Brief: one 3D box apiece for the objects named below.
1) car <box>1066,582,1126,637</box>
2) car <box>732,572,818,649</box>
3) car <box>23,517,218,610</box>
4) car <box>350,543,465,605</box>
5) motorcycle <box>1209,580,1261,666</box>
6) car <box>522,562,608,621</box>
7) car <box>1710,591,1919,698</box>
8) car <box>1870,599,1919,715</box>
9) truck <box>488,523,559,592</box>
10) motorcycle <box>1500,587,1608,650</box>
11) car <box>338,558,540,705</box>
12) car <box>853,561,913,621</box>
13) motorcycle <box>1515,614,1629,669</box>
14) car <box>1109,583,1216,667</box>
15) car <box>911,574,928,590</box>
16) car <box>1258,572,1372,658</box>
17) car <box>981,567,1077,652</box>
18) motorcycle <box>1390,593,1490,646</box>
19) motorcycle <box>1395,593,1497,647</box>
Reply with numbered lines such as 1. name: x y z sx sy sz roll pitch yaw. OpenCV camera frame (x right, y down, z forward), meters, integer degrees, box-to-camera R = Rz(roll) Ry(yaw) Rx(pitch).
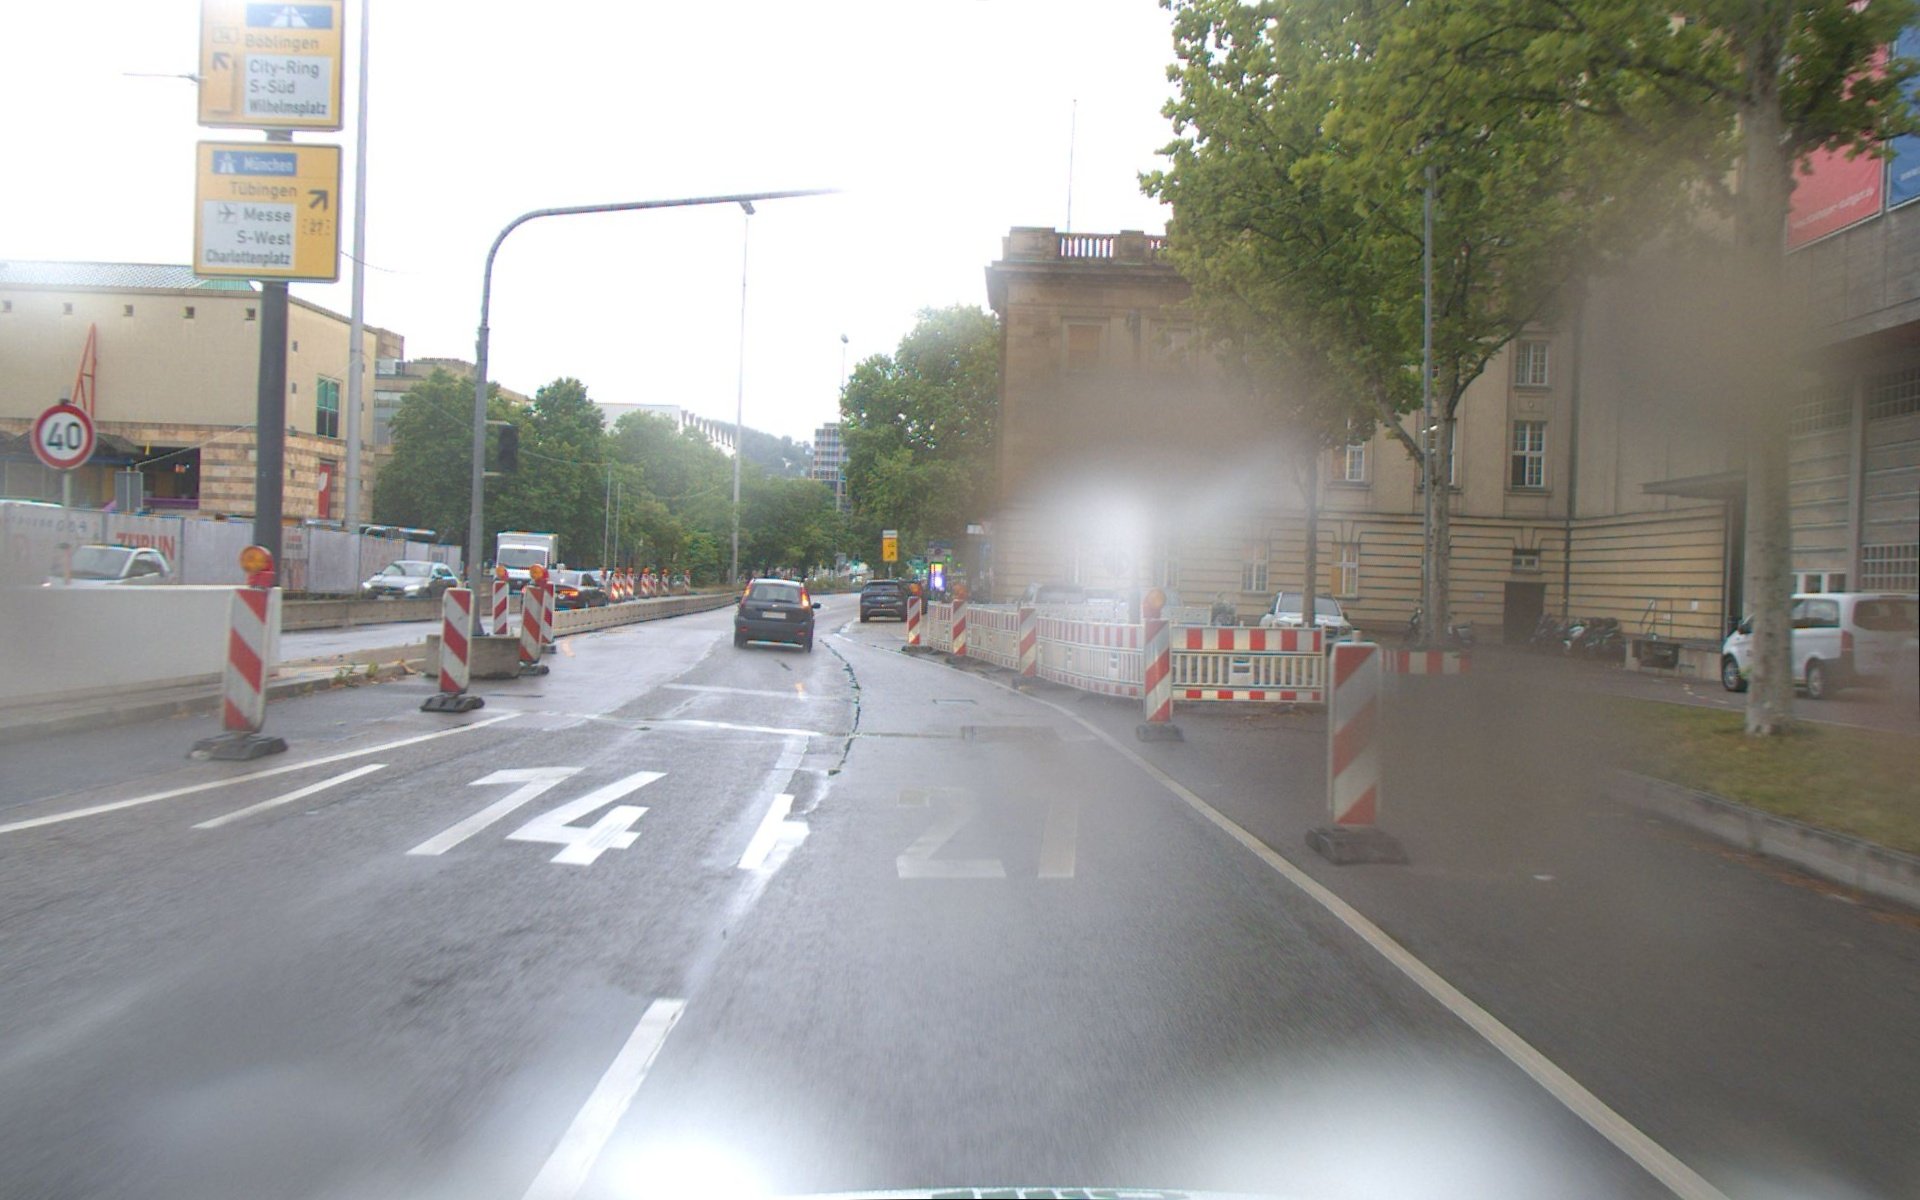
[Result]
1. car: 4.801 0.309 58.428 1.952 1.738 4.003 3 1 4
2. car: -3.909 0.182 35.318 1.638 1.452 3.754 4 1 -6
3. car: -15.855 -0.722 31.463 1.635 1.548 4.000 4 2 -1
4. car: -15.867 -0.720 47.684 1.954 1.505 3.998 4 -1 -1
5. motorcycle: 6.278 0.491 37.940 0.813 1.862 3.145 2 0 4
6. car: -11.041 -0.274 46.502 1.806 1.434 3.995 4 1 -7
7. car: 16.108 0.804 30.823 1.952 1.790 5.096 2 -1 0
8. car: 15.063 0.813 22.874 3.905 1.587 1.933 1 -2 0
9. truck: -17.079 -1.609 64.943 2.372 2.379 5.425 4 -1 -13
10. motorcycle: 20.584 0.637 57.341 3.280 2.049 1.152 2 -1 2
11. car: -5.474 0.307 17.688 1.358 1.410 3.064 1 0 -4
12. car: -2.853 -0.379 61.828 1.953 2.048 4.000 3 1 0
13. motorcycle: 20.197 1.372 54.654 3.281 1.558 1.152 4 -1 2
14. car: 4.750 0.549 39.299 1.953 1.738 4.000 3 1 0
15. car: -5.621 -2.494 229.790 1.955 2.048 3.996 4 -1 -5
16. car: 8.035 0.298 37.772 1.952 1.738 4.003 3 1 4
17. car: 1.539 0.179 38.397 1.953 1.738 4.000 3 1 0
18. motorcycle: 16.441 0.669 56.754 3.095 1.570 0.890 4 -1 4
19. motorcycle: 16.368 0.685 55.727 3.096 1.570 0.890 4 -1 3
